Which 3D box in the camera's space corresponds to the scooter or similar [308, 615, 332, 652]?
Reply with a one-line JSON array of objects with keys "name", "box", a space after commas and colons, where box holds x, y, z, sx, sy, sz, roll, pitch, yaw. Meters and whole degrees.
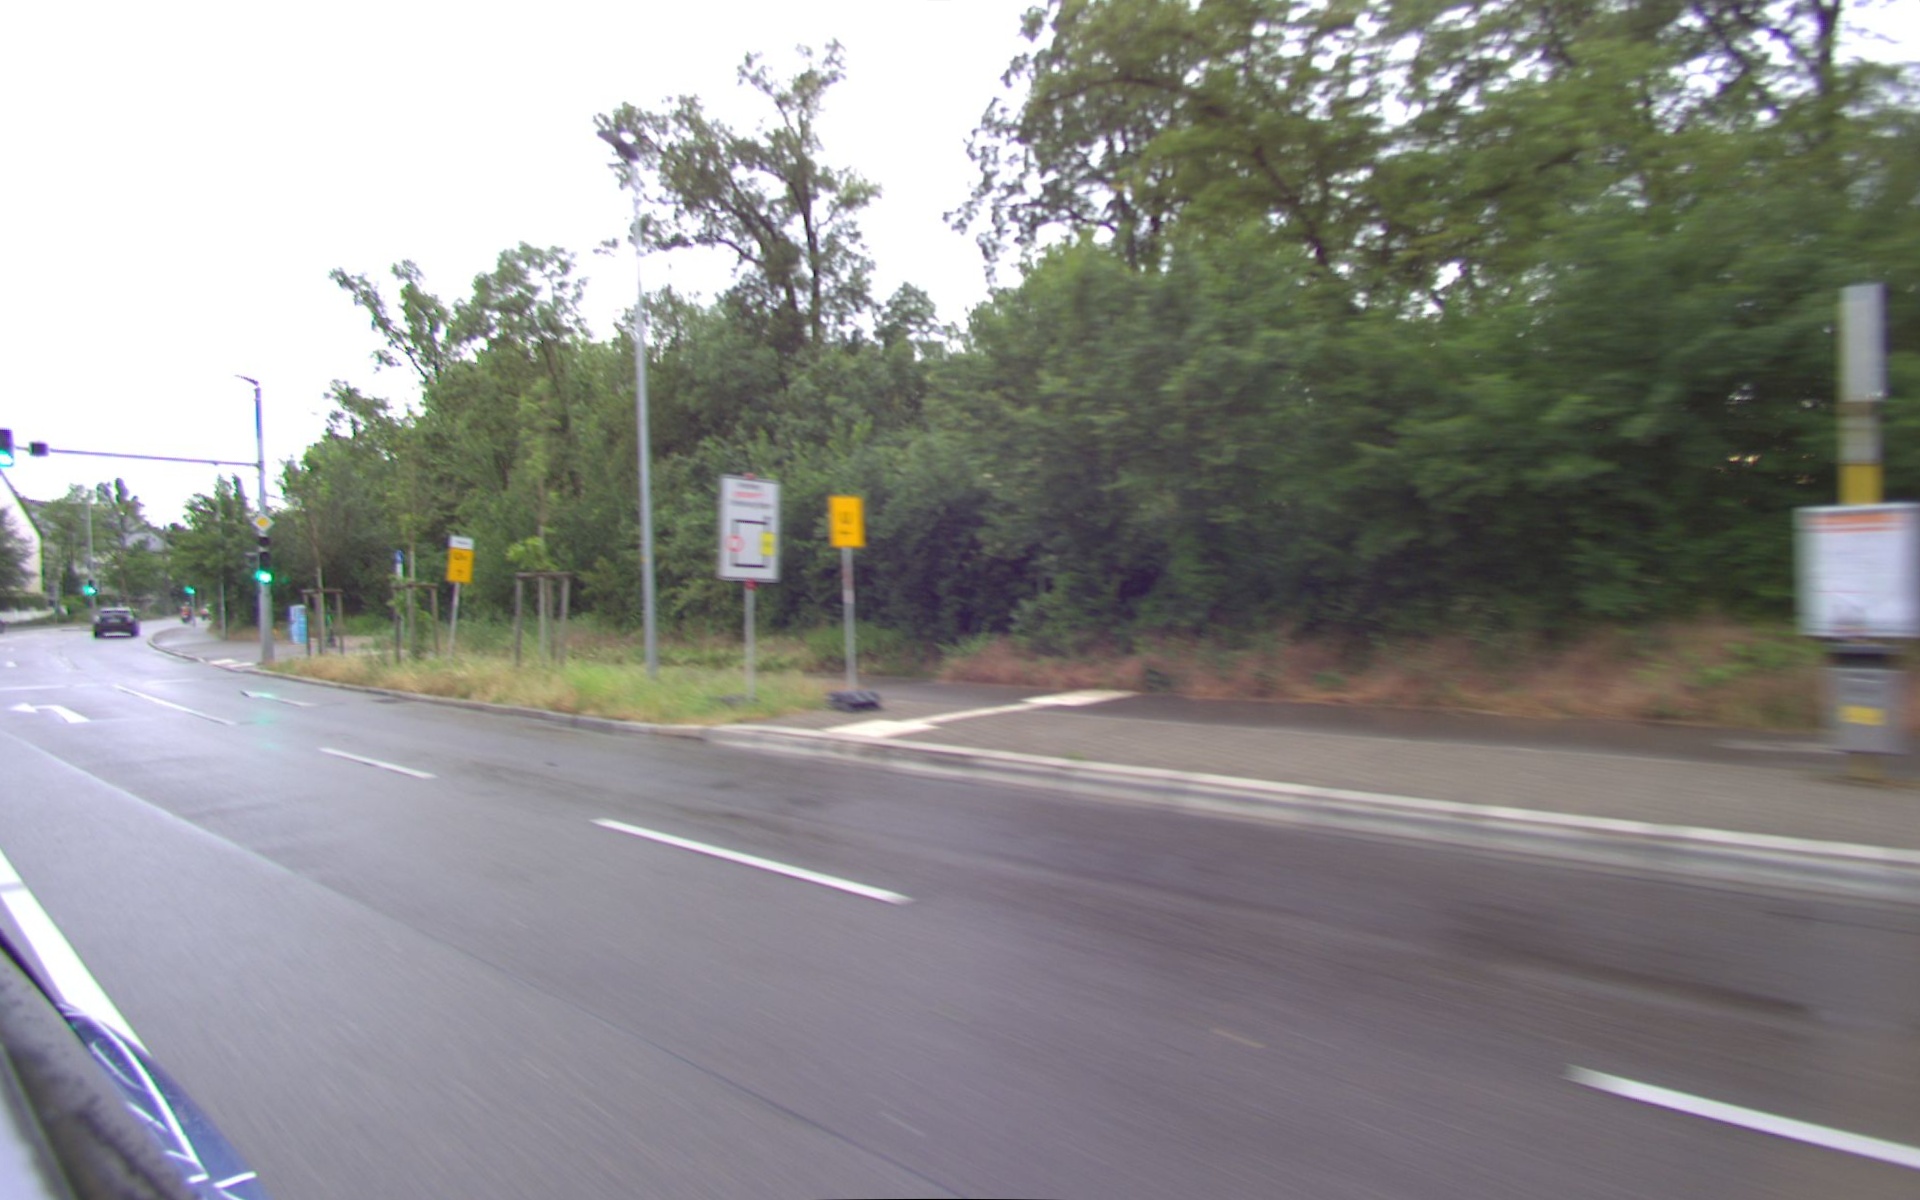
[{"name": "scooter or similar", "box": [-22.366, 1.151, 35.349, 0.511, 1.221, 1.471, -2, 1, -39]}]

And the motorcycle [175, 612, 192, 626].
[{"name": "motorcycle", "box": [-60.209, 1.444, 78.474, 0.585, 1.058, 2.005, -2, 0, -25]}]

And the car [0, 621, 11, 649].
[{"name": "car", "box": [-58.428, 2.129, 59.913, 1.912, 1.615, 4.619, -1, 0, -25]}]

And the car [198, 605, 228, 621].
[{"name": "car", "box": [-65.565, 1.169, 88.906, 1.717, 1.362, 4.222, 0, -1, -31]}]

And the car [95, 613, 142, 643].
[{"name": "car", "box": [-46.179, 1.504, 55.597, 1.766, 1.593, 4.571, -1, 0, -37]}]

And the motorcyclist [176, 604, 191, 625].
[{"name": "motorcyclist", "box": [-60.167, 1.139, 78.394, 0.735, 1.644, 0.930, 0, -1, -24]}]
